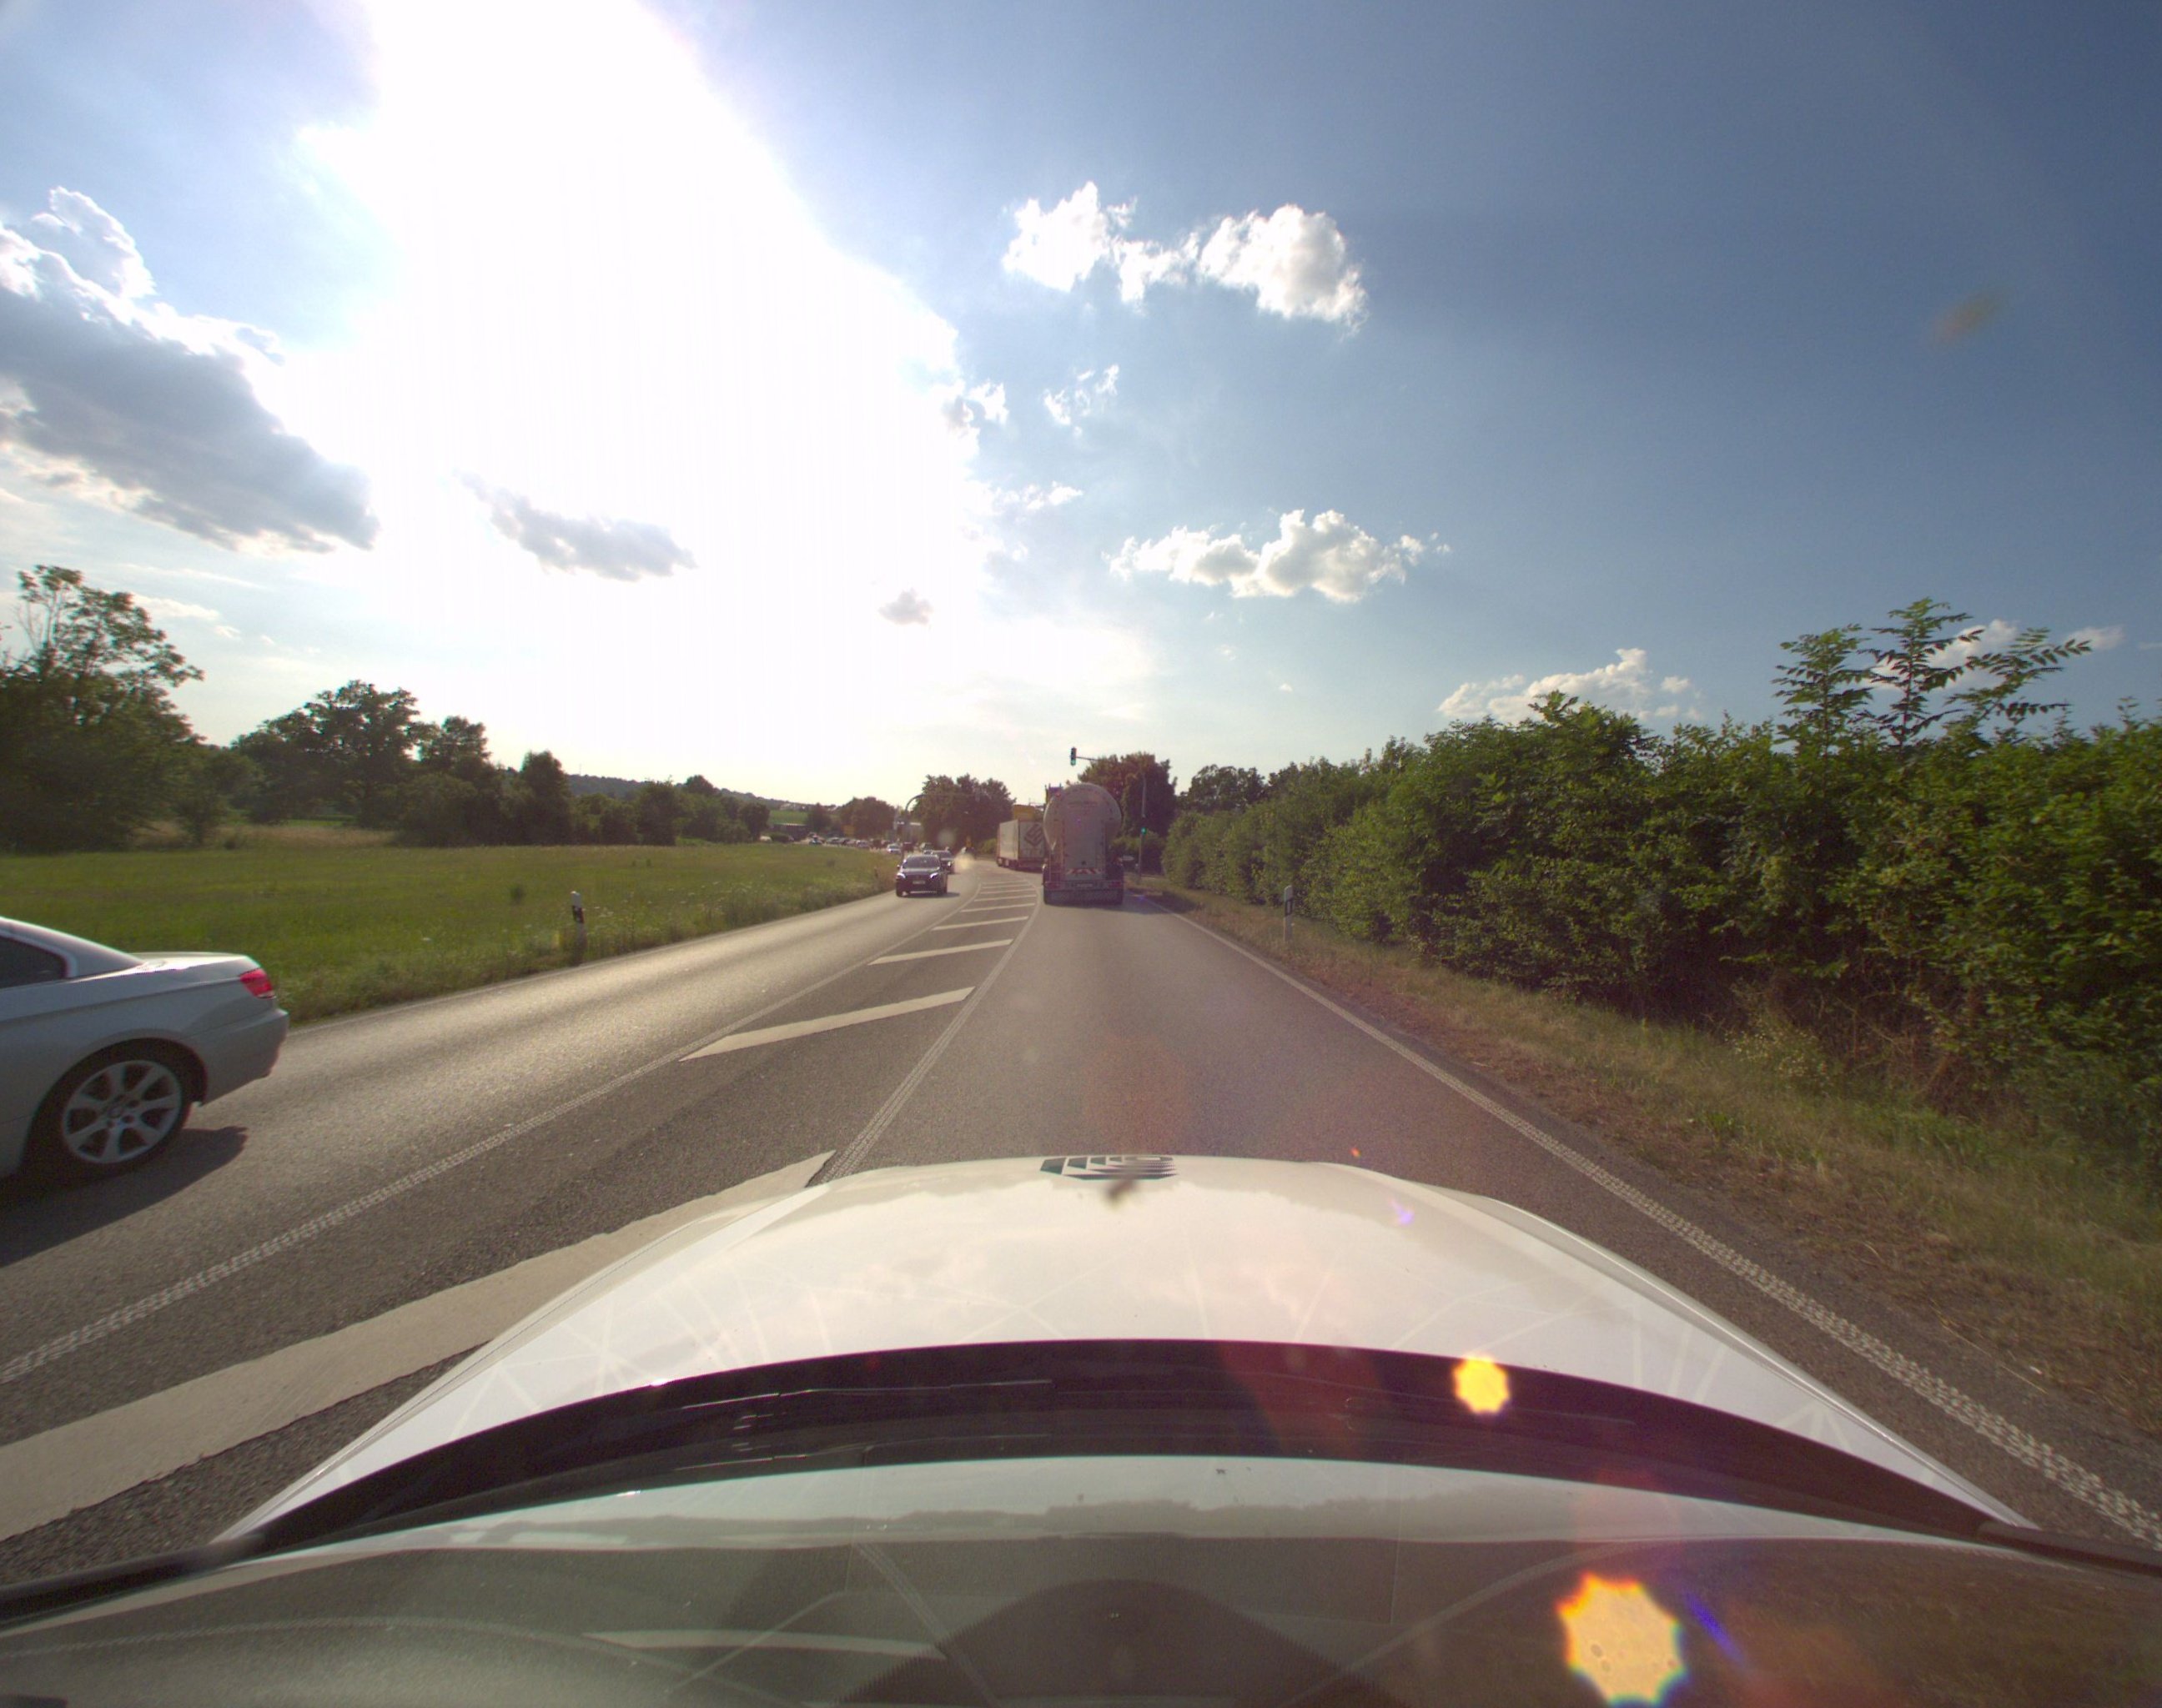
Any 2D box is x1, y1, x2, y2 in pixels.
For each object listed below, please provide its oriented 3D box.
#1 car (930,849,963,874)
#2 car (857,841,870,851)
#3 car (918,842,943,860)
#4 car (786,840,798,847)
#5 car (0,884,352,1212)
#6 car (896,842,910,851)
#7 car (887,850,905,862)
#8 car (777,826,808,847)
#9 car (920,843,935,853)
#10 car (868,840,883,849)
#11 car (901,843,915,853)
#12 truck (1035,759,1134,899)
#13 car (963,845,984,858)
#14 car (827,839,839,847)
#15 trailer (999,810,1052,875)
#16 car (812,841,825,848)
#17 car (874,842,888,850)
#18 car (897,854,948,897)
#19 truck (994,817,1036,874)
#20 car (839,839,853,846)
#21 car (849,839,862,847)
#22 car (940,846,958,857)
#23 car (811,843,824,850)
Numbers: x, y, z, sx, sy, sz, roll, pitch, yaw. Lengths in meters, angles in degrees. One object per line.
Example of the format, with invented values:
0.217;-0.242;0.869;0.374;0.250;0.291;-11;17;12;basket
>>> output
-9.861;0.524;59.834;1.990;1.725;4.419;1;1;-4;car
-38.218;-1.439;142.859;1.887;1.599;3.975;1;0;-19;car
-14.952;-0.300;80.915;1.846;1.656;3.975;1;-1;-19;car
-66.947;-2.355;188.848;1.893;1.599;3.962;1;0;-30;car
-5.384;0.831;2.677;1.694;1.334;4.748;0;-1;0;car
-32.668;-1.338;149.436;2.092;1.599;3.973;1;0;-20;car
-26.636;0.292;116.948;1.889;1.599;3.971;1;0;-22;car
-72.646;-4.292;205.001;3.568;5.059;13.096;1;0;-37;car
-27.015;-1.030;143.162;1.849;1.656;3.970;1;-1;-22;car
-40.704;-1.875;161.337;1.893;1.599;3.962;1;0;-30;car
-30.037;-1.006;141.173;1.888;1.599;3.973;1;0;-20;car
-0.119;-0.654;30.472;2.968;4.176;11.650;1;-1;-2;truck
-13.671;-0.303;103.172;1.998;1.656;3.976;1;-1;-17;car
-56.700;-2.502;186.105;1.894;1.599;3.961;1;0;-31;car
-4.666;-0.799;66.653;2.966;4.882;10.247;1;-1;-11;trailer
-61.447;-2.128;190.812;1.896;1.599;3.957;1;0;-35;car
-41.339;-1.624;168.492;1.893;1.599;3.963;1;0;-29;car
-6.198;0.841;32.248;1.693;1.552;4.141;1;-1;-8;car
-6.042;-0.677;73.570;2.964;4.887;6.405;1;-1;-11;truck
-51.789;-2.509;179.238;1.894;1.599;3.960;1;0;-32;car
-48.167;-2.338;174.232;1.892;1.599;3.964;1;0;-28;car
-19.311;-0.391;118.994;1.691;1.468;3.970;1;-1;-22;car
-56.372;-1.629;174.334;1.893;1.599;3.964;1;0;-28;car
